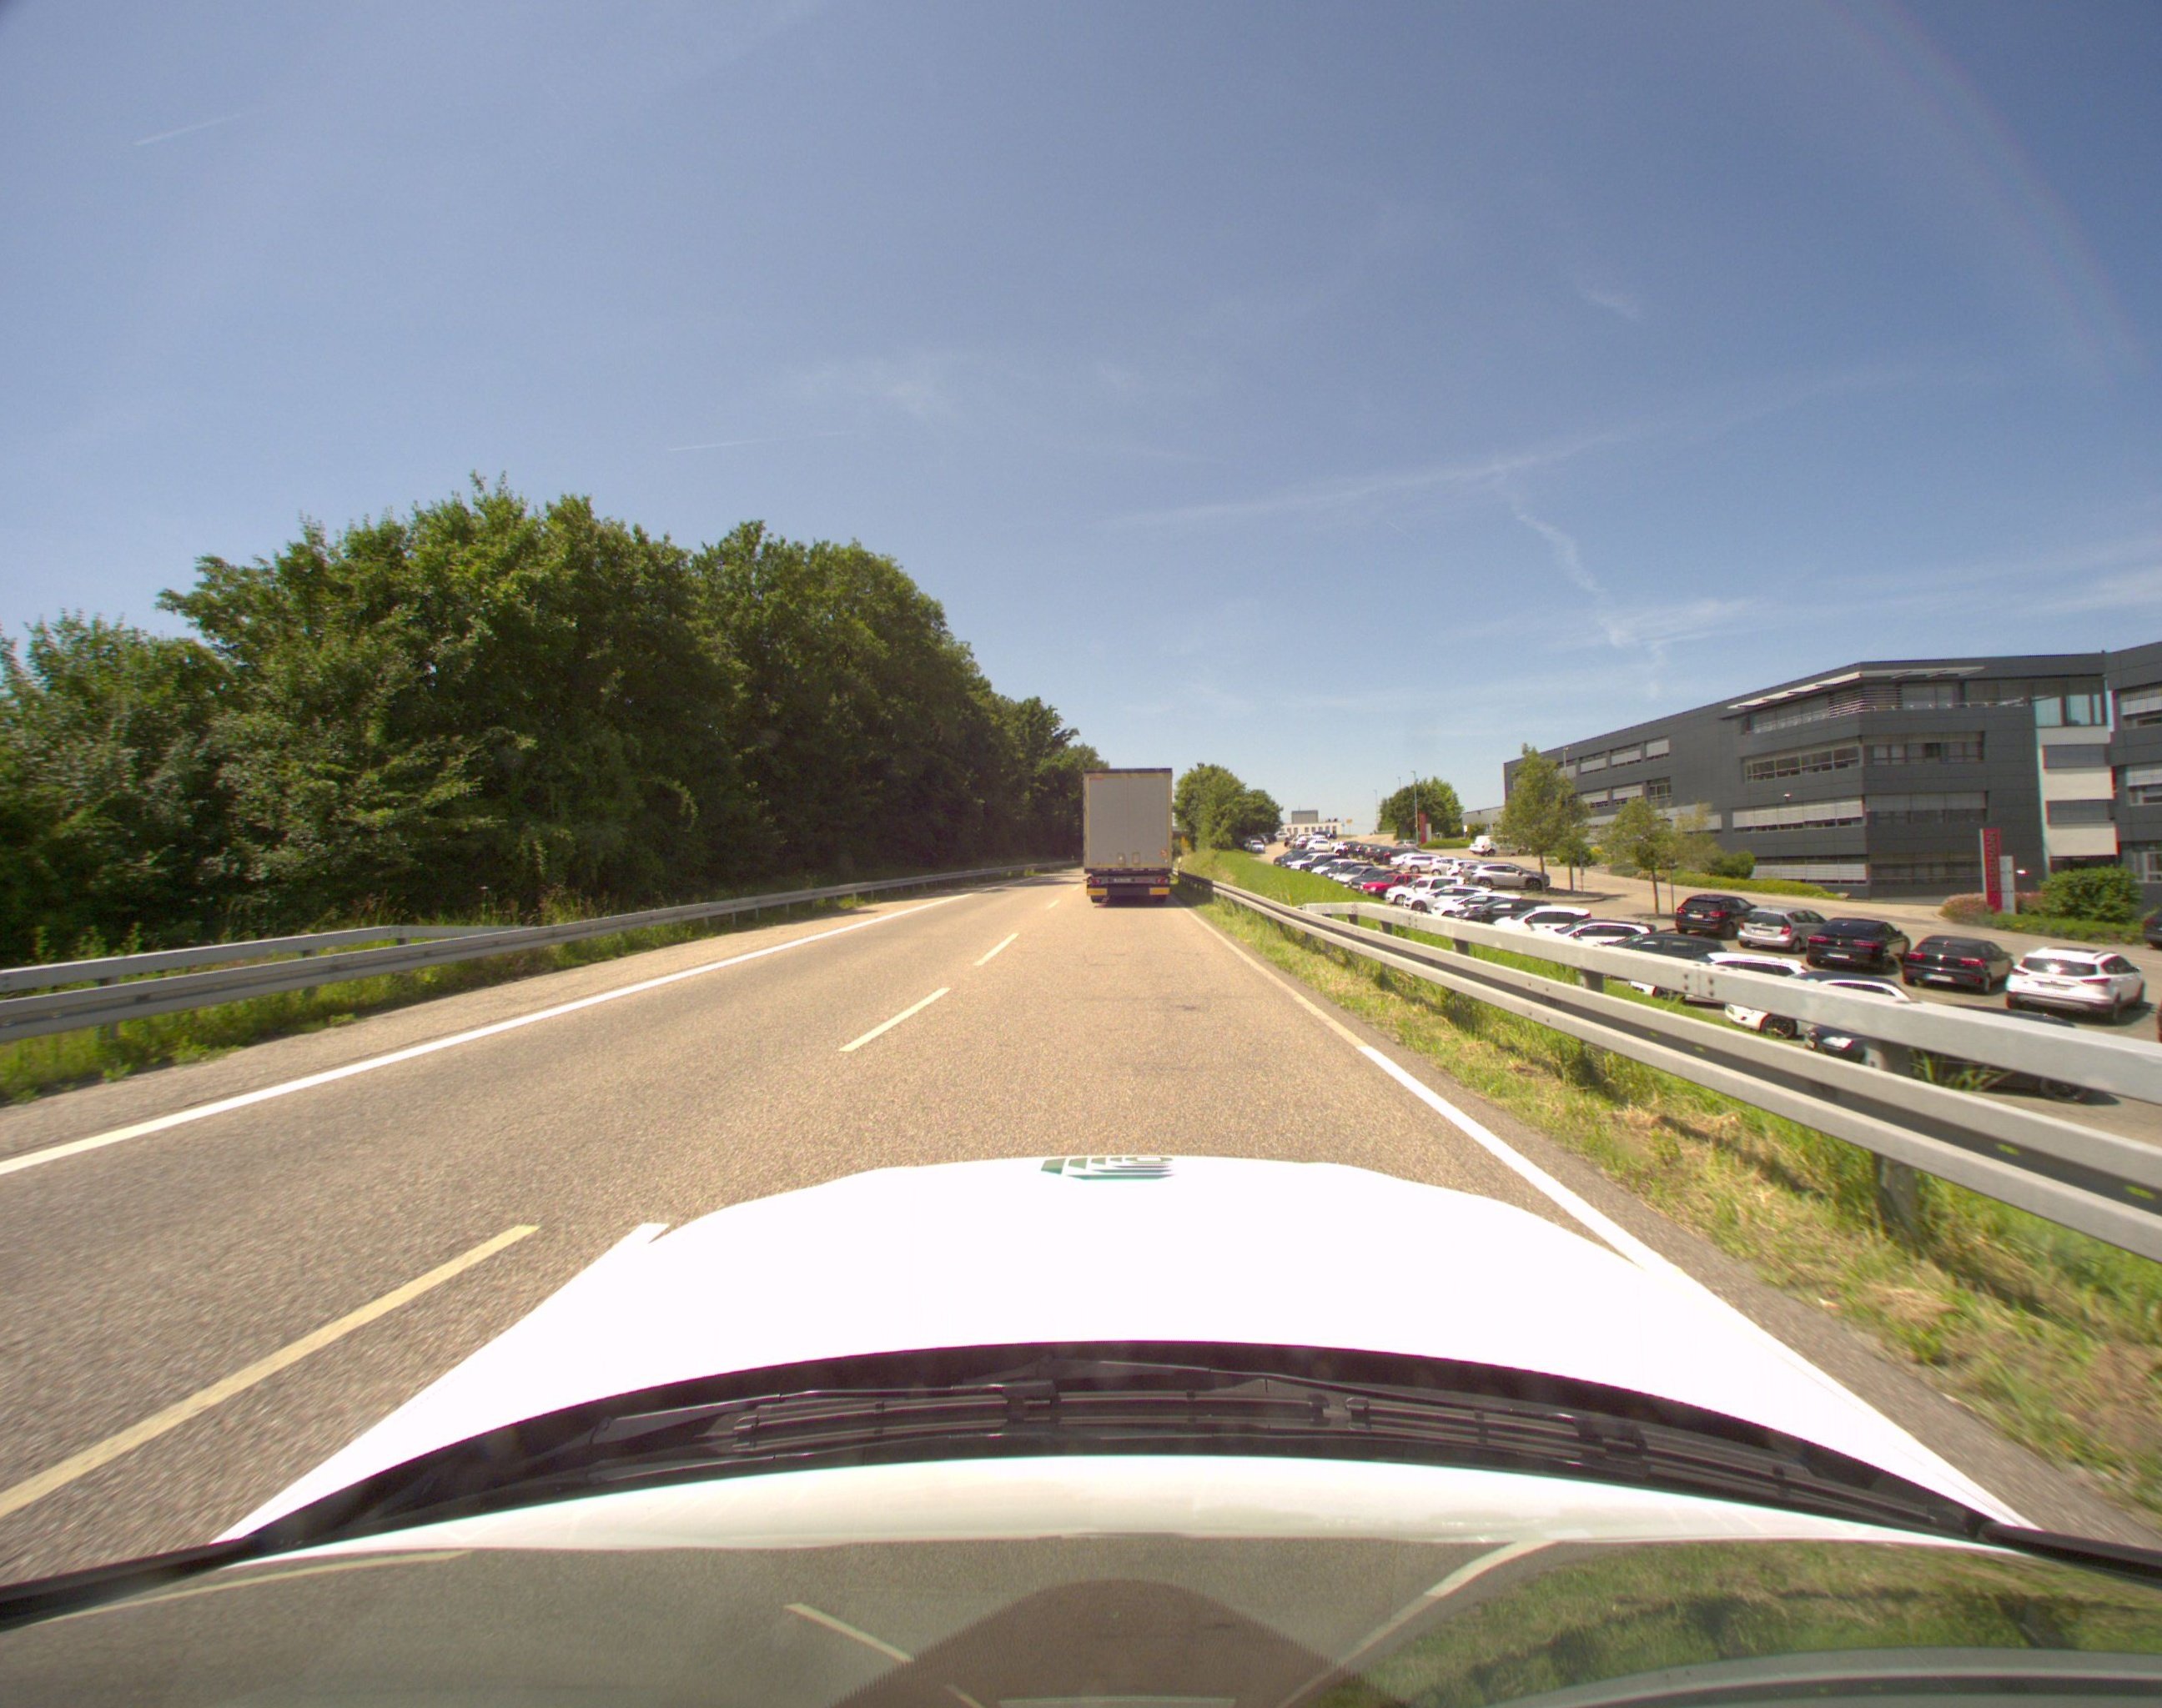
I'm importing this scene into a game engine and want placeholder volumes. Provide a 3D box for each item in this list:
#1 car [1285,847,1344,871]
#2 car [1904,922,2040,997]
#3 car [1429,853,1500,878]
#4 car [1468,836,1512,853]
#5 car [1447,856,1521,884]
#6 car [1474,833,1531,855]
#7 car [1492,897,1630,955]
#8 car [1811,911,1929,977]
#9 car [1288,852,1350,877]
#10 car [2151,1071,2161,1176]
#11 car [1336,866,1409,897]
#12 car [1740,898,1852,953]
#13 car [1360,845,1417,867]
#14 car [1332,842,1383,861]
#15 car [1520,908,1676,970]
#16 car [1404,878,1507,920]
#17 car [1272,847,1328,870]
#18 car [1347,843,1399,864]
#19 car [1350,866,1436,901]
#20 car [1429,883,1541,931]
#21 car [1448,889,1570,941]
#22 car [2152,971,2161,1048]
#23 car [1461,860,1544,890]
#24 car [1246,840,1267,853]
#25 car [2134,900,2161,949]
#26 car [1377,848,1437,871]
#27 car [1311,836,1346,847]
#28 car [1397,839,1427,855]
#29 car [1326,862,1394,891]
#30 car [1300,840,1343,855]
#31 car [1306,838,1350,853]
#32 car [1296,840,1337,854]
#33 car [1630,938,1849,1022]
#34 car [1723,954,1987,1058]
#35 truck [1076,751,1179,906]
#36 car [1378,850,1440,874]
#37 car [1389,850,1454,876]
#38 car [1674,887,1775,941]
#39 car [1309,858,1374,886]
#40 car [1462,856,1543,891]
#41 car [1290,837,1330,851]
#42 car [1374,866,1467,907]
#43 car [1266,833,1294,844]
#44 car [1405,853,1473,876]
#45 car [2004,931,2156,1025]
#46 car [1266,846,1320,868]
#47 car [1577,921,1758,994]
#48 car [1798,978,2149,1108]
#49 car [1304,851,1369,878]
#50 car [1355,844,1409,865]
[{"bbox_3d":[18.861,0.434,65.882,4.384,1.685,1.873,2,3,-26],"label":"car"},{"bbox_3d":[27.083,3.120,24.724,4.601,1.513,1.804,-2,5,-30],"label":"car"},{"bbox_3d":[27.855,0.849,59.126,4.528,1.477,1.832,-3,3,28],"label":"car"},{"bbox_3d":[41.513,-0.945,82.793,3.646,1.588,1.686,-1,2,3],"label":"car"},{"bbox_3d":[27.742,1.078,56.094,4.529,1.628,1.833,1,7,28],"label":"car"},{"bbox_3d":[40.956,-0.963,79.232,4.552,1.949,1.823,-1,2,3],"label":"car"},{"bbox_3d":[18.206,2.685,31.136,4.324,1.558,1.873,5,3,27],"label":"car"},{"bbox_3d":[26.525,2.950,27.351,4.604,1.513,1.802,-2,5,-33],"label":"car"},{"bbox_3d":[18.376,0.830,62.907,4.384,1.685,1.873,2,3,-26],"label":"car"},{"bbox_3d":[17.468,4.119,10.078,4.667,1.487,1.926,5,3,28],"label":"car"},{"bbox_3d":[17.861,1.675,49.877,4.394,1.685,1.869,2,3,-34],"label":"car"},{"bbox_3d":[27.235,2.654,30.993,4.601,1.539,1.804,-2,5,-30],"label":"car"},{"bbox_3d":[27.971,0.197,74.076,4.530,1.628,1.832,5,3,29],"label":"car"},{"bbox_3d":[28.312,-0.290,83.458,4.530,1.628,1.832,5,3,29],"label":"car"},{"bbox_3d":[17.825,2.887,28.340,4.324,1.456,1.829,5,3,27],"label":"car"},{"bbox_3d":[18.484,2.170,40.251,4.322,1.558,1.900,5,3,32],"label":"car"},{"bbox_3d":[18.528,0.367,68.865,4.384,1.685,1.873,2,3,-26],"label":"car"},{"bbox_3d":[28.630,-0.079,79.895,4.530,1.628,1.832,5,3,29],"label":"car"},{"bbox_3d":[17.935,1.710,46.911,4.376,1.685,1.877,3,2,-19],"label":"car"},{"bbox_3d":[18.218,2.343,36.821,4.324,1.558,1.899,5,3,27],"label":"car"},{"bbox_3d":[17.926,2.509,34.255,4.324,1.558,1.899,5,3,27],"label":"car"},{"bbox_3d":[26.441,3.477,18.603,4.601,1.659,1.774,-2,5,-30],"label":"car"},{"bbox_3d":[26.149,1.289,50.597,4.529,1.628,1.832,0,4,28],"label":"car"},{"bbox_3d":[20.954,-0.954,97.531,1.619,1.353,3.710,4,3,-1],"label":"car"},{"bbox_3d":[40.373,2.484,28.532,4.555,1.647,1.821,-1,3,1],"label":"car"},{"bbox_3d":[28.365,0.429,70.874,4.530,1.628,1.832,5,3,29],"label":"car"},{"bbox_3d":[36.334,-1.859,119.657,4.528,1.629,1.832,1,0,37],"label":"car"},{"bbox_3d":[35.615,-0.731,87.757,1.798,1.662,4.004,1,0,4],"label":"car"},{"bbox_3d":[18.288,1.474,53.398,4.394,1.685,1.869,2,3,-34],"label":"car"},{"bbox_3d":[28.183,-0.801,95.465,4.531,1.628,1.831,2,2,23],"label":"car"},{"bbox_3d":[28.164,-0.955,92.865,4.531,1.628,1.831,2,1,23],"label":"car"},{"bbox_3d":[28.492,-0.874,98.664,4.531,1.628,1.831,0,1,23],"label":"car"},{"bbox_3d":[17.734,3.349,22.249,4.323,1.394,1.830,5,3,29],"label":"car"},{"bbox_3d":[17.884,3.461,19.100,4.076,1.517,1.689,5,3,26],"label":"car"},{"bbox_3d":[1.542,-0.743,27.936,2.854,4.359,9.795,-1,0,3],"label":"truck"},{"bbox_3d":[27.523,0.619,68.462,4.530,1.628,1.832,5,3,29],"label":"car"},{"bbox_3d":[27.420,0.700,65.677,4.530,1.628,1.832,5,3,29],"label":"car"},{"bbox_3d":[26.739,2.426,33.808,4.255,1.628,1.804,-4,6,-30],"label":"car"},{"bbox_3d":[18.002,1.233,56.193,4.394,1.685,1.869,2,3,-34],"label":"car"},{"bbox_3d":[27.475,1.234,53.121,4.530,1.627,1.833,5,11,28],"label":"car"},{"bbox_3d":[28.643,-1.238,101.758,4.531,1.628,1.831,2,2,23],"label":"car"},{"bbox_3d":[18.139,1.698,43.525,4.406,1.685,1.899,5,3,24],"label":"car"},{"bbox_3d":[32.874,-2.593,134.687,4.385,1.685,1.873,-2,4,-26],"label":"car"},{"bbox_3d":[27.409,0.774,62.397,4.527,1.519,1.833,1,5,33],"label":"car"},{"bbox_3d":[26.738,3.209,21.779,4.601,1.659,1.804,-2,5,-30],"label":"car"},{"bbox_3d":[18.747,0.270,71.929,4.384,1.685,1.873,2,3,-26],"label":"car"},{"bbox_3d":[18.036,3.132,25.346,4.323,1.456,1.830,5,3,29],"label":"car"},{"bbox_3d":[17.525,3.652,16.332,4.324,1.490,1.721,5,3,26],"label":"car"},{"bbox_3d":[18.751,0.770,59.753,4.384,1.685,1.873,2,3,-26],"label":"car"},{"bbox_3d":[28.465,0.056,77.062,4.530,1.628,1.832,5,3,29],"label":"car"}]
